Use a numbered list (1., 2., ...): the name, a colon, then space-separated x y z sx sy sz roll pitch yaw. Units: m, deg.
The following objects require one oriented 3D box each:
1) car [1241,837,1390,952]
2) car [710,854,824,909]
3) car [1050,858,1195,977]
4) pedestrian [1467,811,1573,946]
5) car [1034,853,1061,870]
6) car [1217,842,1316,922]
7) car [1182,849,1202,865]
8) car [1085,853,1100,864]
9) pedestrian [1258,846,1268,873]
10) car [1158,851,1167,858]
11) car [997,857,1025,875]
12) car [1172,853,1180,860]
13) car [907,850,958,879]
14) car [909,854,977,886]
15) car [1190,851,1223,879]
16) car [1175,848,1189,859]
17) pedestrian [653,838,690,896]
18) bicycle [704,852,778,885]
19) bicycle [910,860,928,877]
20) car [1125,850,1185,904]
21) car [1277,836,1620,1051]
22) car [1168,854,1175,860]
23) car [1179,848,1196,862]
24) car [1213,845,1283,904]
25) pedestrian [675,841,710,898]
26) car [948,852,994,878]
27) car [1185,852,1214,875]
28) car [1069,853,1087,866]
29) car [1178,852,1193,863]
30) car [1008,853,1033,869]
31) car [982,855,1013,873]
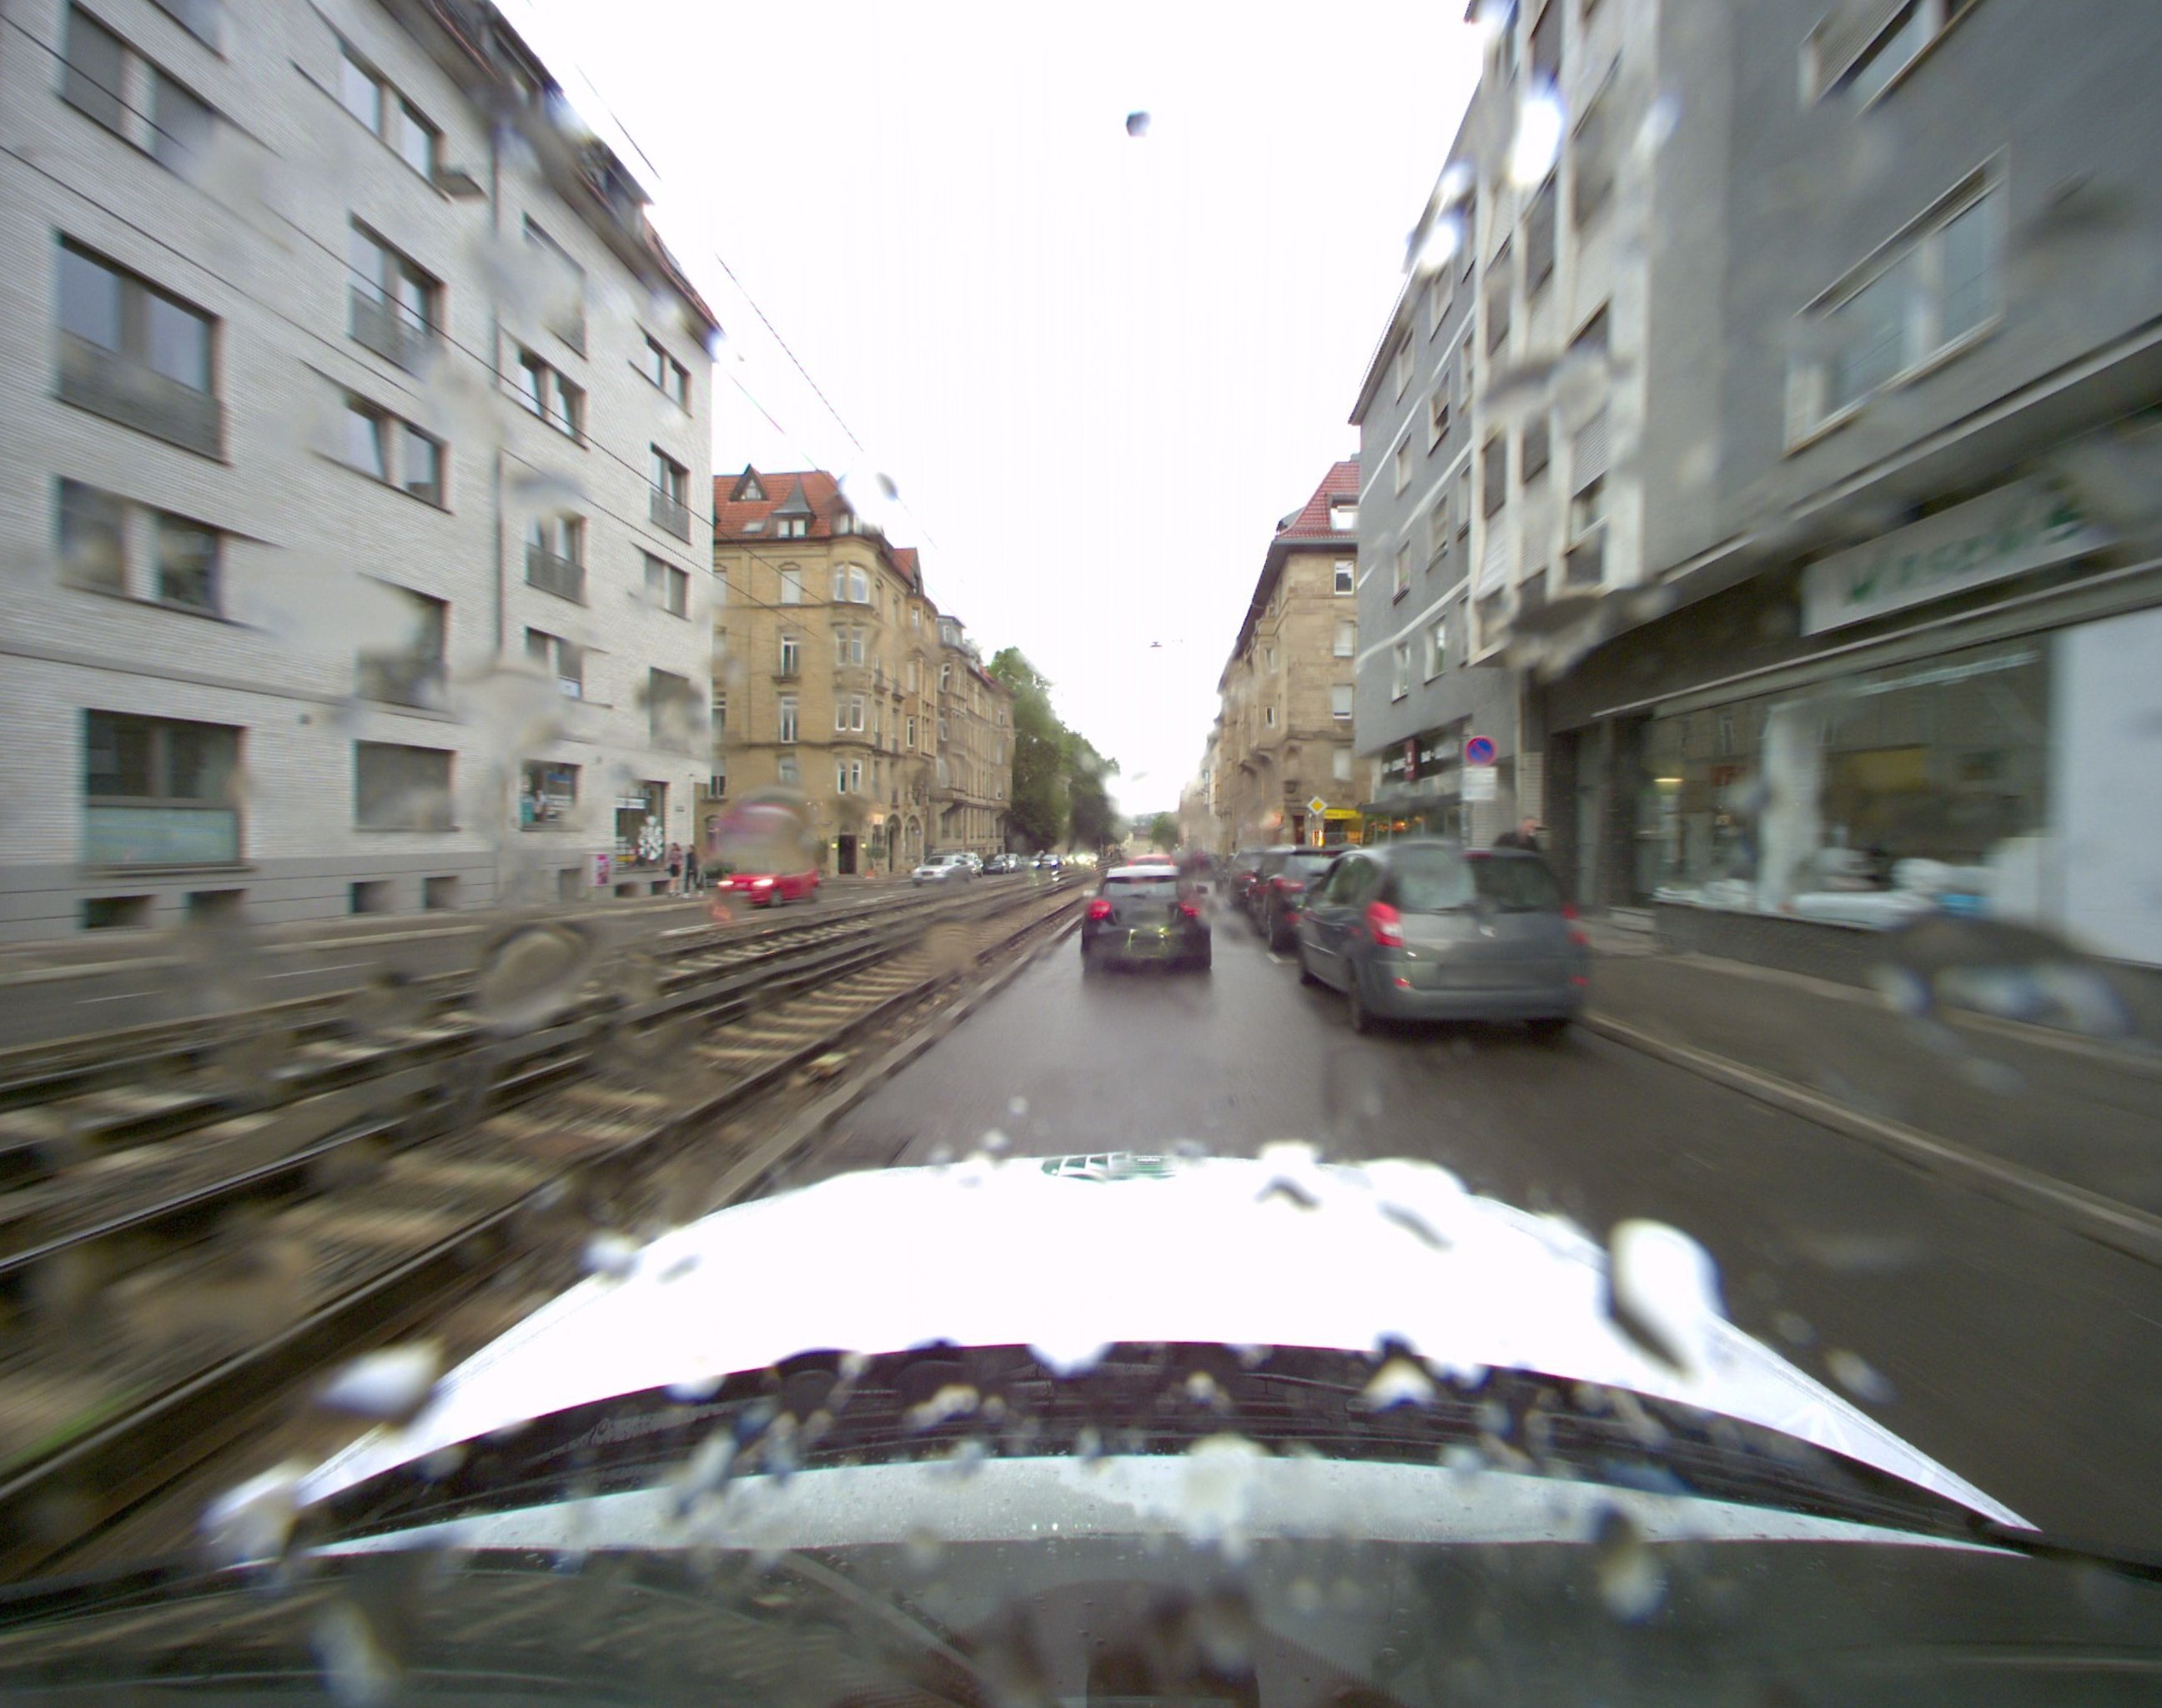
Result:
1. car: 3.846 0.590 14.040 1.675 1.670 4.128 -1 0 5
2. car: -9.298 0.760 24.438 1.671 1.497 3.526 -1 0 7
3. car: 0.787 0.830 12.559 1.856 1.452 4.008 1 0 7
4. pedestrian: 6.002 0.319 11.193 0.941 1.769 1.016 -1 0 3
5. car: -2.787 0.595 68.890 1.686 1.388 3.488 -1 0 7
6. car: 4.323 0.590 19.629 1.741 1.670 4.711 -1 0 6
7. car: 9.910 0.272 72.802 1.605 1.317 4.006 -1 0 6
8. car: 1.543 0.562 110.641 1.560 1.413 3.488 -1 0 7
9. pedestrian: 9.724 0.287 43.577 0.452 1.467 0.611 0 0 5
10. car: 15.034 0.052 150.165 1.605 1.317 4.006 -1 0 6
11. car: -5.800 0.995 67.790 1.560 1.413 3.488 -1 0 7
12. car: 18.560 0.507 159.409 1.605 1.317 4.006 0 0 6
13. car: -8.336 0.546 46.002 1.713 1.541 3.942 -1 0 7
14. car: -6.576 0.732 39.436 1.796 1.360 4.775 -1 0 9
15. car: 7.066 0.601 46.282 1.614 1.485 4.006 -1 0 6
16. car: 12.721 -0.074 102.461 1.605 1.317 4.006 -1 0 6
17. pedestrian: -13.037 0.407 25.948 0.637 1.787 0.925 -2 -2 5
18. bicycle: -17.402 0.728 41.751 3.142 1.584 1.594 -1 0 -6
19. bicycle: -9.702 0.846 48.738 0.596 1.000 2.080 -1 0 1
20. car: 2.222 0.621 24.434 1.641 1.452 4.006 0 0 5
21. car: 3.247 0.660 8.335 1.756 1.559 4.753 -1 0 6
22. car: 20.107 0.688 181.405 1.605 1.317 4.006 -1 0 6
23. car: 10.661 0.077 81.790 1.605 1.317 4.006 -1 0 6
24. car: 4.920 0.553 24.416 1.605 1.605 4.006 -1 0 6
25. pedestrian: -12.343 0.494 25.899 0.626 1.787 0.883 -2 -2 5
26. car: -7.192 0.701 53.706 1.796 1.597 4.535 -1 0 7
27. car: 7.471 0.575 51.658 1.605 1.317 4.006 -1 0 6
28. car: -0.339 0.585 93.975 1.560 1.413 3.488 -1 0 7
29. car: 12.141 0.393 95.061 1.605 1.317 4.006 -1 0 6
30. car: -5.477 0.635 73.627 1.560 1.413 3.488 -1 0 7
31. car: -6.376 0.764 62.305 1.560 1.316 3.488 -1 0 7
